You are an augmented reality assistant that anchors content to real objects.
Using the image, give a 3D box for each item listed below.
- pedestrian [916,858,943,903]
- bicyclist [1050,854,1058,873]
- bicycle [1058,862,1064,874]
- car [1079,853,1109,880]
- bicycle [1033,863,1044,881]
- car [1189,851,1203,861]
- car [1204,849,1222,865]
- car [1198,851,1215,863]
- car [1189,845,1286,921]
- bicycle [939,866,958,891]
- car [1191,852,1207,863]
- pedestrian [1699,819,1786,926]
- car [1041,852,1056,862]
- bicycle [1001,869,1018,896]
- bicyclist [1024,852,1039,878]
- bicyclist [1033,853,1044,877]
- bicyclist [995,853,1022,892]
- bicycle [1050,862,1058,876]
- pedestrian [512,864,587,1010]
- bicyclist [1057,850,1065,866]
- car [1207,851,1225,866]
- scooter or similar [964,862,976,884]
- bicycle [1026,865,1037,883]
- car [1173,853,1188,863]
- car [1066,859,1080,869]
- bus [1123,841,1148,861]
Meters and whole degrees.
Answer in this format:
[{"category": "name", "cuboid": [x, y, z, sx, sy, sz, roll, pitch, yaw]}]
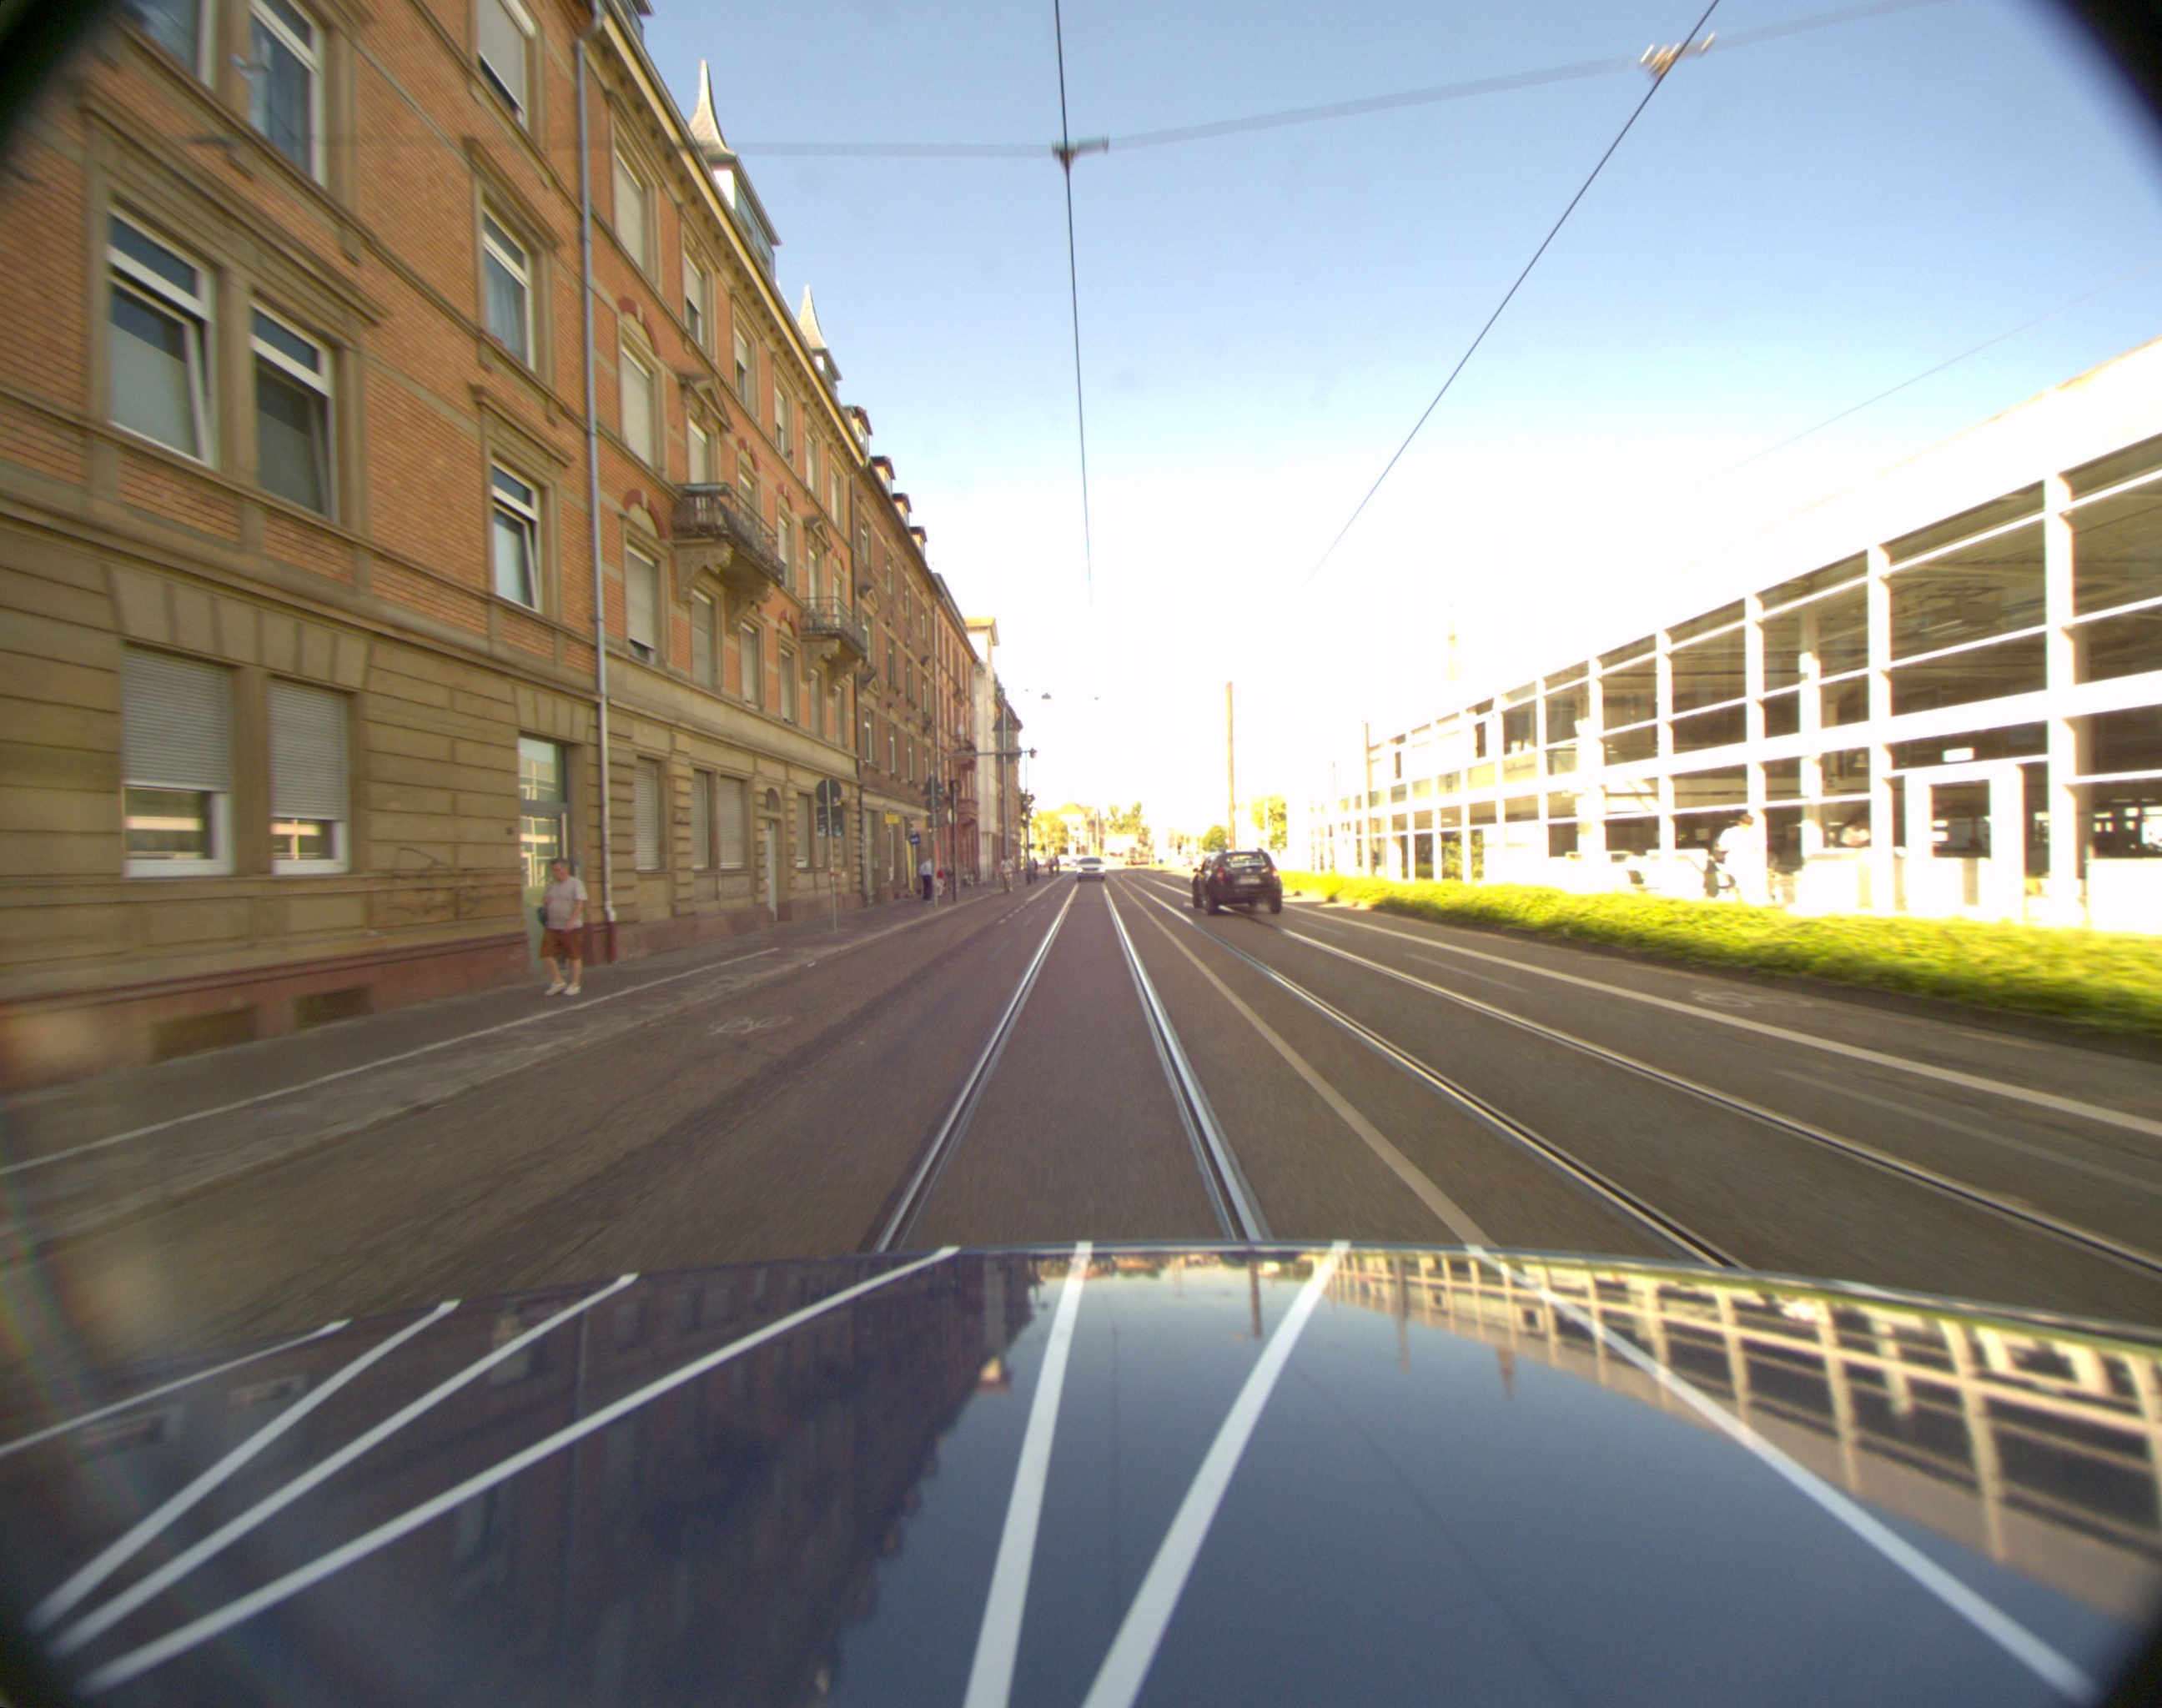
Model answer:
[{"category": "pedestrian", "cuboid": [-5.570, 0.970, 28.015, 0.800, 1.595, 0.652, -1, 1, 3]}, {"category": "bicyclist", "cuboid": [-2.233, 0.779, 63.164, 0.551, 1.604, 0.953, -3, 1, 1]}, {"category": "bicycle", "cuboid": [-1.849, 1.298, 70.864, 0.533, 1.152, 1.865, -2, 0, -1]}, {"category": "car", "cuboid": [0.857, 0.822, 50.701, 1.868, 1.635, 4.397, -2, 0, 1]}, {"category": "bicycle", "cuboid": [-2.872, 1.200, 51.453, 0.533, 1.111, 1.933, -1, 1, 2]}, {"category": "car", "cuboid": [17.583, 0.335, 116.643, 1.653, 1.470, 3.971, 0, 0, 2]}, {"category": "car", "cuboid": [16.876, 0.339, 97.586, 1.807, 1.922, 4.165, -1, 1, 3]}, {"category": "car", "cuboid": [17.201, 0.419, 104.439, 1.807, 1.569, 4.165, -1, 1, 2]}, {"category": "car", "cuboid": [3.982, 0.667, 20.025, 1.763, 1.687, 4.144, -3, 1, 2]}, {"category": "bicycle", "cuboid": [-6.537, 1.190, 37.581, 0.410, 1.115, 1.898, 0, 1, 5]}, {"category": "car", "cuboid": [17.245, 0.457, 111.281, 1.807, 1.424, 4.000, -3, 1, 2]}, {"category": "pedestrian", "cuboid": [11.395, 0.298, 13.125, 0.528, 1.754, 1.051, -3, 1, 1]}, {"category": "car", "cuboid": [-9.285, 0.755, 217.005, 2.246, 2.665, 5.296, -4, 1, -23]}, {"category": "bicycle", "cuboid": [-3.287, 1.298, 34.886, 0.533, 1.111, 1.933, -2, 1, 1]}, {"category": "bicyclist", "cuboid": [-3.045, 0.671, 46.747, 0.784, 1.584, 0.886, -2, 0, 3]}, {"category": "bicyclist", "cuboid": [-2.854, 0.736, 51.461, 0.625, 1.604, 0.980, -3, 1, 0]}, {"category": "bicyclist", "cuboid": [-3.328, 0.840, 34.933, 0.681, 1.674, 1.122, -3, 1, 26]}, {"category": "bicycle", "cuboid": [-2.214, 1.229, 63.059, 0.533, 1.111, 1.933, -3, 1, 1]}, {"category": "pedestrian", "cuboid": [-6.333, 0.968, 9.068, 0.554, 1.691, 0.474, 0, 1, 1]}, {"category": "bicyclist", "cuboid": [-1.880, 0.381, 71.118, 0.675, 1.413, 1.036, -3, 1, 1]}, {"category": "car", "cuboid": [16.075, 0.501, 90.451, 1.803, 1.709, 4.418, -1, 1, 7]}, {"category": "scooter or similar", "cuboid": [-6.365, 1.104, 43.684, 0.407, 1.204, 1.480, 0, 1, 2]}, {"category": "bicycle", "cuboid": [-3.020, 1.228, 46.665, 0.387, 1.063, 1.934, -2, 0, 3]}, {"category": "car", "cuboid": [14.668, 0.570, 112.118, 1.807, 1.424, 4.540, -3, 1, 2]}, {"category": "car", "cuboid": [-1.308, 1.593, 123.210, 1.886, 1.557, 4.013, -3, 1, 3]}, {"category": "bus", "cuboid": [10.320, -0.595, 142.453, 2.845, 3.568, 11.282, -2, 0, 14]}]
